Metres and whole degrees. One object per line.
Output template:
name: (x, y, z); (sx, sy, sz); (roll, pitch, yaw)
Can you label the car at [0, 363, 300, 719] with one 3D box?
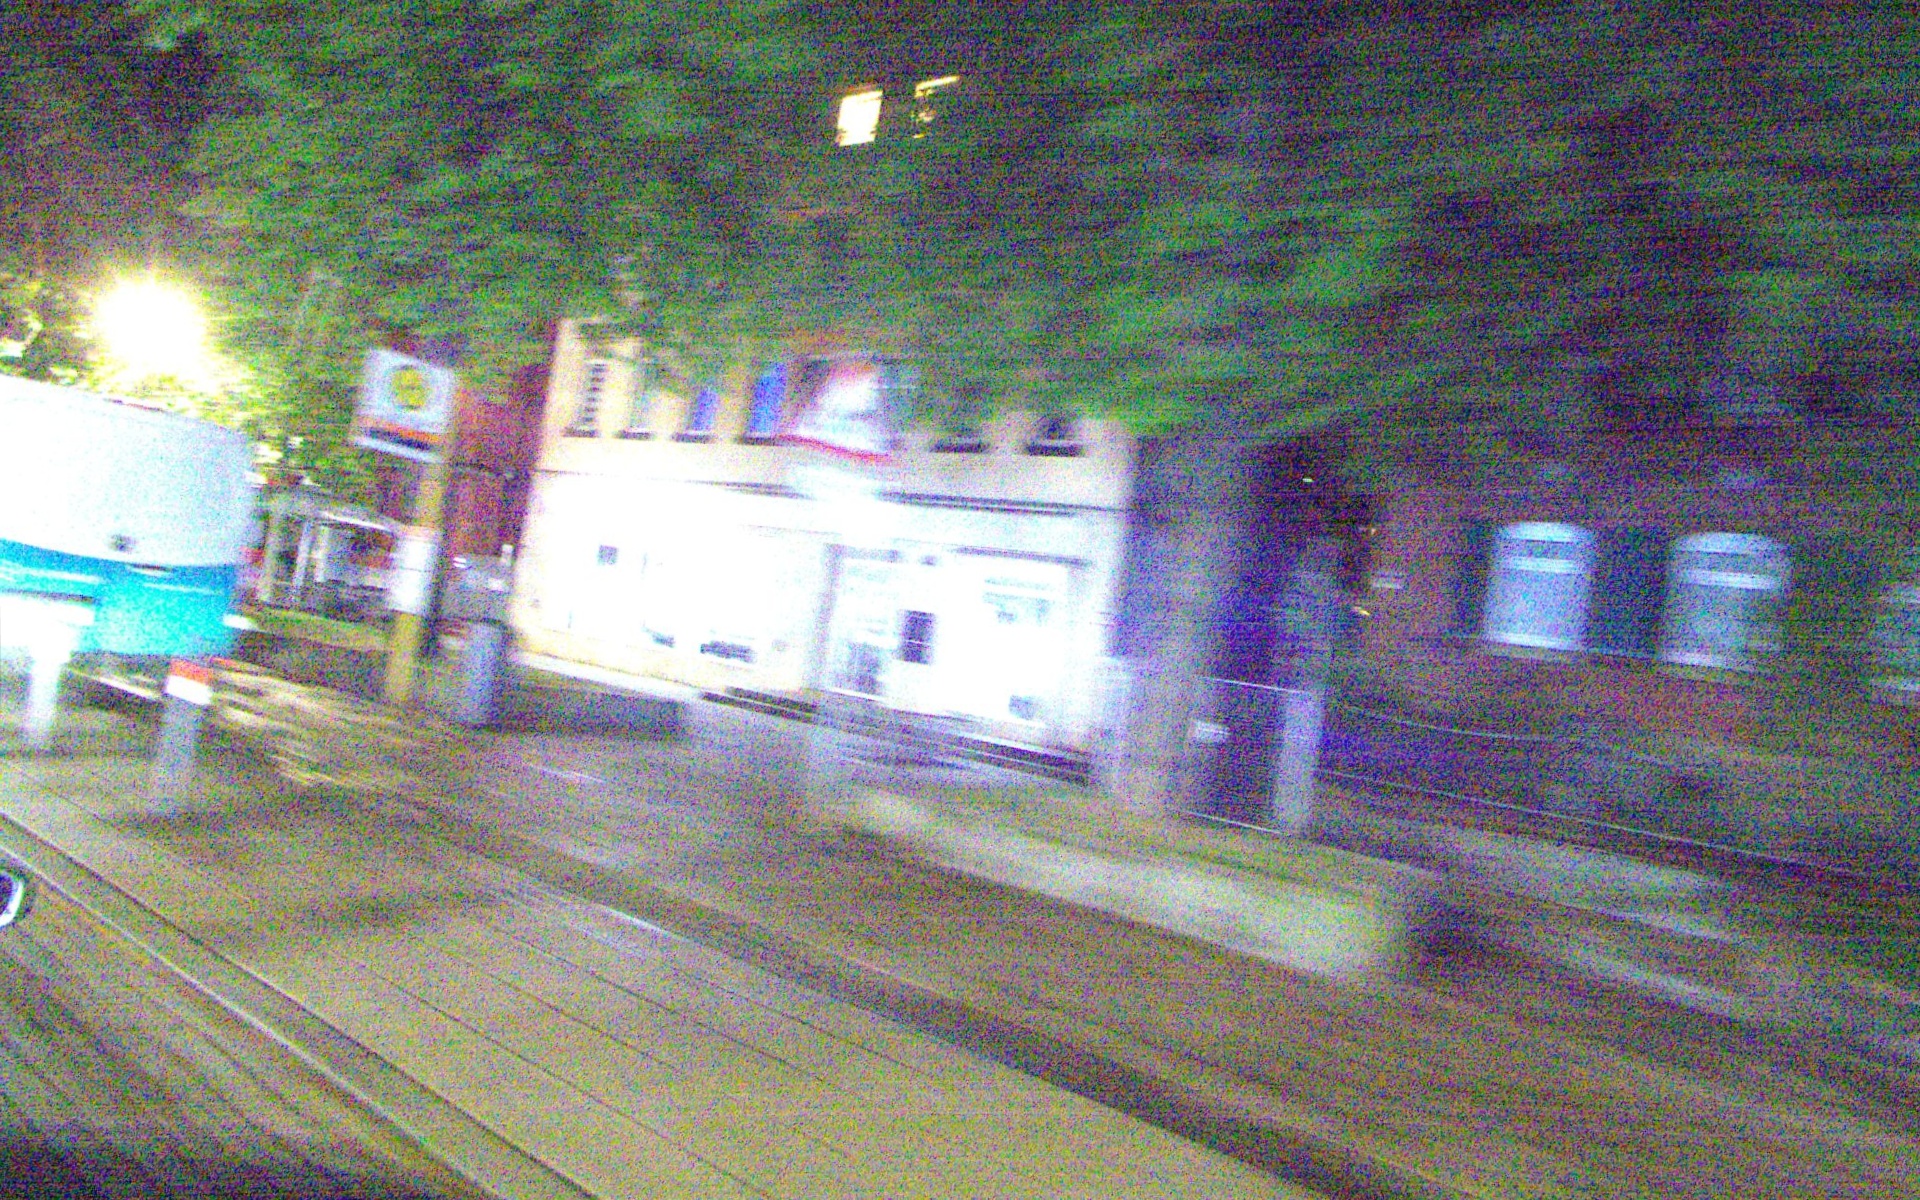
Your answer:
car: (-8.303, -0.592, 8.656); (5.065, 2.352, 2.140); (7, -2, 31)
